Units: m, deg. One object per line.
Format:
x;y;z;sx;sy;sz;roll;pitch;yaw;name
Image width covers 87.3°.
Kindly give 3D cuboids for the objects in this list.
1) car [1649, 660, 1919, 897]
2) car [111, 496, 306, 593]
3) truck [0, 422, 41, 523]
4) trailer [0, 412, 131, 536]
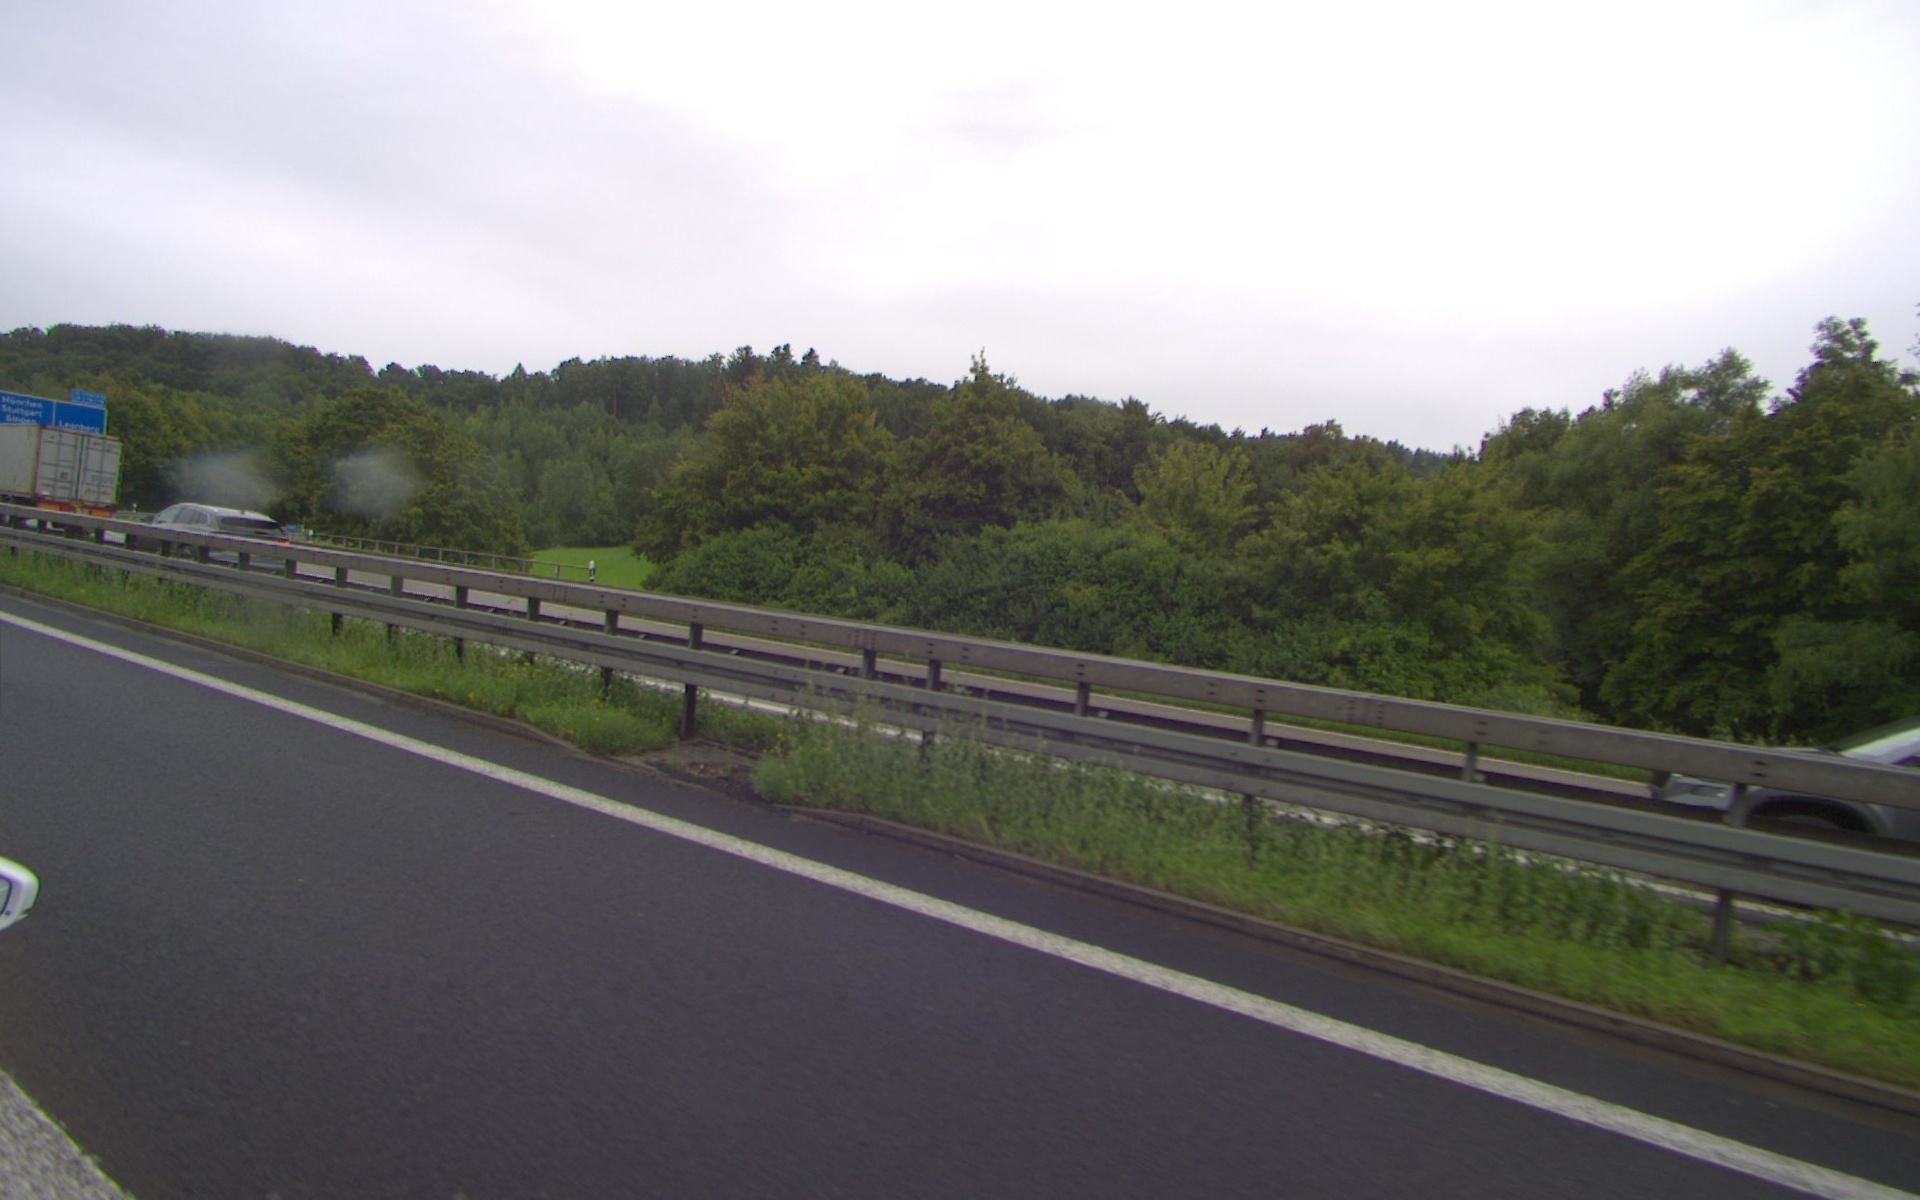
7.408;1.370;7.010;4.057;1.400;1.668;6;1;31;car
-16.825;-1.260;22.466;4.565;1.629;1.773;6;-1;31;car
-41.796;-5.551;42.487;6.287;3.931;2.619;6;0;33;truck
-36.343;-4.965;39.000;12.286;3.941;2.607;6;0;33;trailer
